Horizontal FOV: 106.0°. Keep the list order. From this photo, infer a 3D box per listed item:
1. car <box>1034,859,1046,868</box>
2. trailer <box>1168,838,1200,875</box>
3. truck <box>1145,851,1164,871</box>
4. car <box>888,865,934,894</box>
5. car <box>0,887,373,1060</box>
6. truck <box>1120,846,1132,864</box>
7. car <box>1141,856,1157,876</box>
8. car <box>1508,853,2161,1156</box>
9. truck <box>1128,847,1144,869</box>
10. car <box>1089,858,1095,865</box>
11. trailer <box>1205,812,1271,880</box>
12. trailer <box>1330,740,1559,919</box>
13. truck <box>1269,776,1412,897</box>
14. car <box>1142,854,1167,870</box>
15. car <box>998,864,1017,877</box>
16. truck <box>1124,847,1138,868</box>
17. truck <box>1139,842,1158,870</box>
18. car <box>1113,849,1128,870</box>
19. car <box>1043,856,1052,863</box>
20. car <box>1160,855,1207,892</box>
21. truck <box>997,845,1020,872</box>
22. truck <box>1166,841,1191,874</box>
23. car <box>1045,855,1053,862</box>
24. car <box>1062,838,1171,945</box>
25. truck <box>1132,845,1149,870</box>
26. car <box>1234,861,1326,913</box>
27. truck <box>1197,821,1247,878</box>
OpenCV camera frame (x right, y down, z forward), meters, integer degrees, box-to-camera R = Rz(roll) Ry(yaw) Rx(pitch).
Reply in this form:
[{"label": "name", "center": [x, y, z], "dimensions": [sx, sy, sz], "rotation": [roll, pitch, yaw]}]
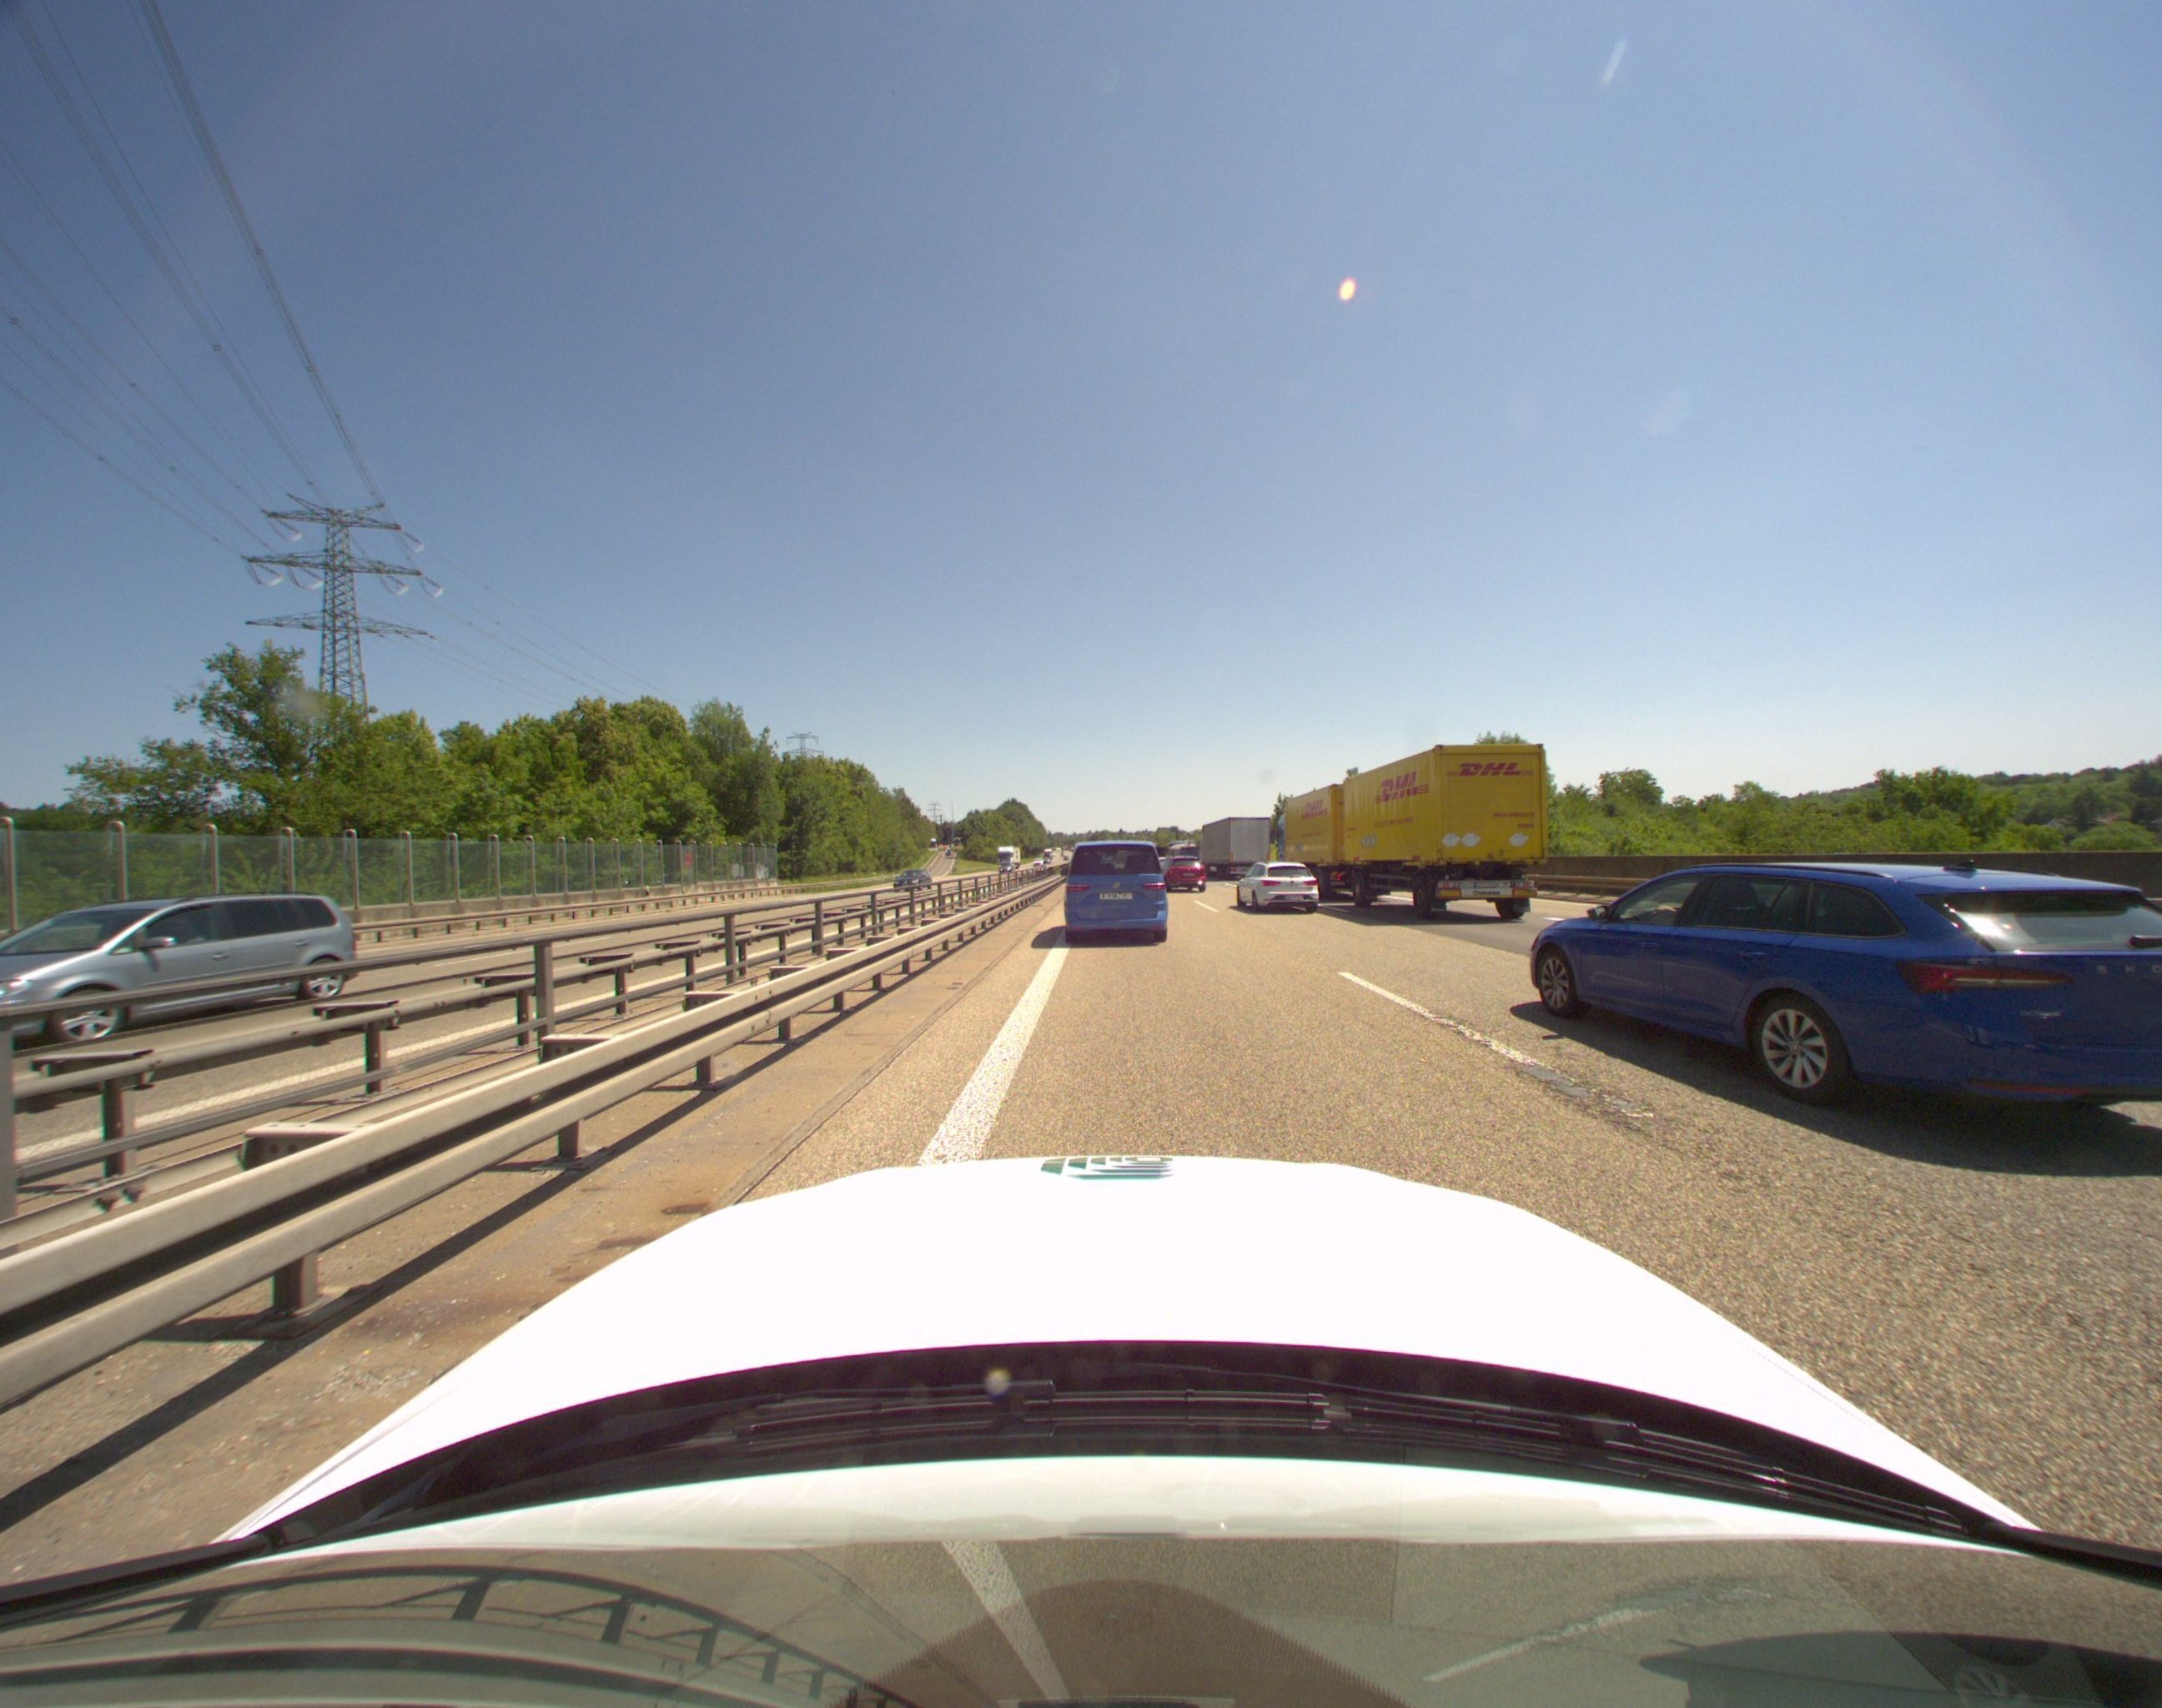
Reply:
[{"label": "car", "center": [-8.307, 1.817, 164.183], "dimensions": [1.915, 1.689, 4.123], "rotation": [-4, -1, 1]}, {"label": "trailer", "center": [11.105, 0.329, 88.506], "dimensions": [2.371, 3.744, 11.191], "rotation": [0, -1, 2]}, {"label": "truck", "center": [12.241, 1.181, 136.046], "dimensions": [2.347, 3.219, 9.740], "rotation": [0, -1, 1]}, {"label": "car", "center": [-10.778, 1.594, 51.869], "dimensions": [1.823, 1.609, 4.170], "rotation": [-4, -1, 1]}, {"label": "car", "center": [-11.814, 1.358, 10.346], "dimensions": [1.823, 1.609, 4.170], "rotation": [-4, -1, 1]}, {"label": "truck", "center": [13.159, 0.288, 238.071], "dimensions": [2.824, 5.040, 12.912], "rotation": [0, -1, 1]}, {"label": "car", "center": [7.298, 1.290, 87.258], "dimensions": [1.577, 2.014, 3.495], "rotation": [0, -1, 2]}, {"label": "car", "center": [5.198, 0.738, 6.154], "dimensions": [1.703, 1.440, 4.502], "rotation": [-1, -1, 2]}, {"label": "truck", "center": [12.888, 1.020, 191.595], "dimensions": [2.824, 4.886, 13.219], "rotation": [0, -1, 1]}, {"label": "car", "center": [2.942, 1.952, 216.691], "dimensions": [1.732, 1.911, 3.682], "rotation": [0, -1, 2]}, {"label": "trailer", "center": [10.493, -0.383, 55.675], "dimensions": [2.744, 4.146, 11.316], "rotation": [0, -1, 2]}, {"label": "trailer", "center": [9.569, -0.482, 22.856], "dimensions": [2.691, 4.024, 8.934], "rotation": [0, -1, 2]}, {"label": "truck", "center": [9.908, -0.517, 32.503], "dimensions": [2.712, 4.055, 10.340], "rotation": [0, -1, 2]}, {"label": "car", "center": [6.508, 0.713, 72.552], "dimensions": [1.832, 1.414, 4.000], "rotation": [-1, -1, 0]}, {"label": "car", "center": [-9.576, 2.130, 106.324], "dimensions": [1.823, 1.609, 4.170], "rotation": [-4, -1, 1]}, {"label": "truck", "center": [12.817, 1.018, 210.295], "dimensions": [2.824, 5.373, 12.554], "rotation": [0, -1, 1]}, {"label": "truck", "center": [12.497, 0.420, 152.097], "dimensions": [2.824, 5.040, 11.145], "rotation": [0, -1, 1]}, {"label": "car", "center": [8.618, 1.318, 179.666], "dimensions": [3.081, 4.397, 11.933], "rotation": [0, -1, 2]}, {"label": "car", "center": [-8.482, 1.399, 204.166], "dimensions": [1.915, 1.689, 4.123], "rotation": [-4, -1, 1]}, {"label": "car", "center": [4.741, 0.897, 38.140], "dimensions": [1.844, 1.608, 4.002], "rotation": [-1, -1, 2]}, {"label": "truck", "center": [-12.657, 0.799, 142.361], "dimensions": [2.978, 4.279, 7.191], "rotation": [-4, -1, 1]}, {"label": "truck", "center": [11.286, 0.430, 94.362], "dimensions": [2.359, 3.722, 6.035], "rotation": [0, -1, 2]}, {"label": "car", "center": [-8.199, 1.147, 208.824], "dimensions": [1.915, 1.689, 4.123], "rotation": [-4, -1, 1]}, {"label": "car", "center": [0.689, 0.676, 16.246], "dimensions": [1.875, 1.837, 4.002], "rotation": [-1, -1, 2]}, {"label": "truck", "center": [12.506, 0.766, 172.190], "dimensions": [2.824, 5.040, 11.816], "rotation": [0, -1, 1]}, {"label": "car", "center": [5.703, 0.898, 23.820], "dimensions": [1.774, 1.387, 4.190], "rotation": [-1, -1, 2]}, {"label": "truck", "center": [10.728, -0.286, 62.562], "dimensions": [2.758, 4.095, 6.986], "rotation": [0, -1, 2]}]
